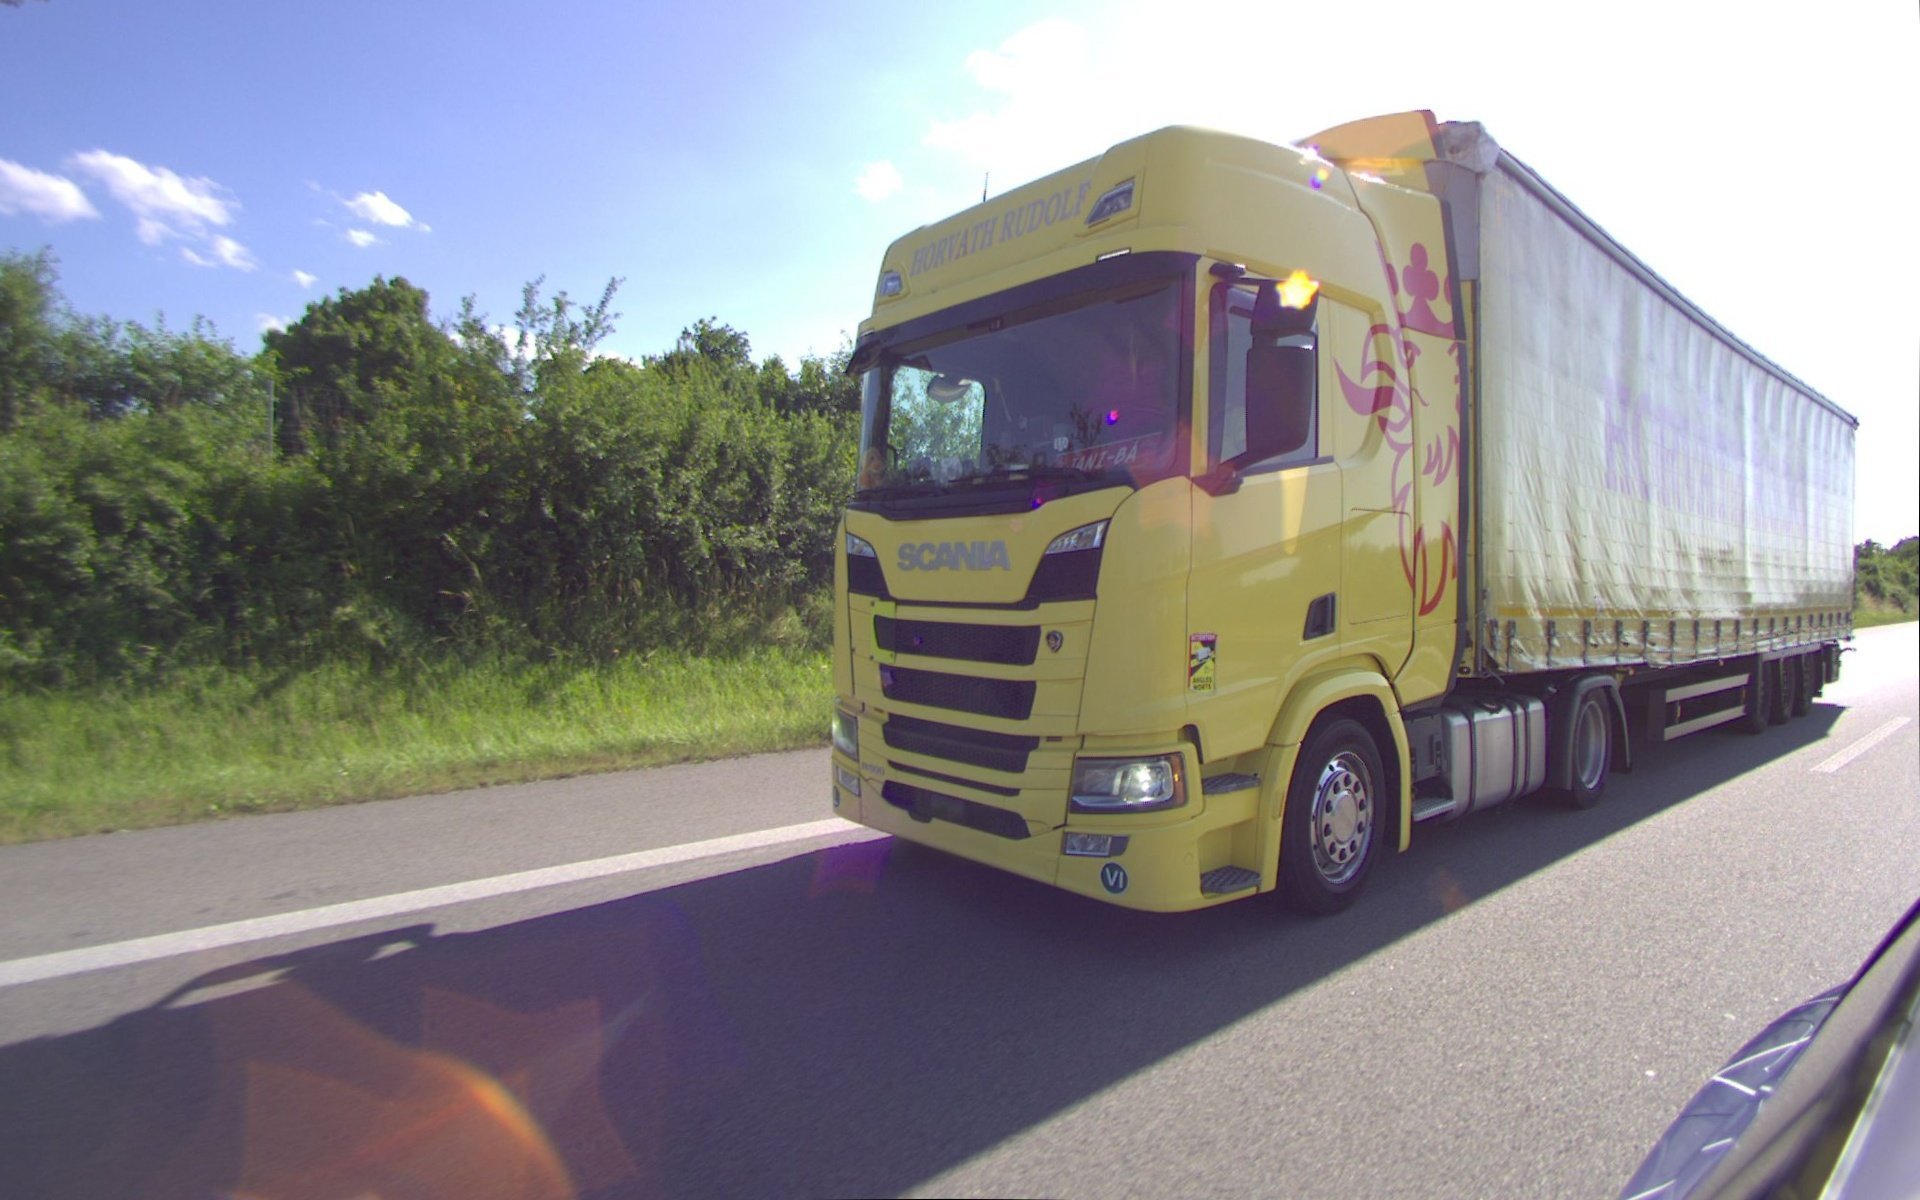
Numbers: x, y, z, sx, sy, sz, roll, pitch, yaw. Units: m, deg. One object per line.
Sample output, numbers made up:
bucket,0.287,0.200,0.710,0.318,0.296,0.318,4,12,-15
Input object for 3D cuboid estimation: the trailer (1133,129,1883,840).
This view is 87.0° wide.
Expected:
trailer,7.303,-0.732,11.369,12.959,4.110,3.189,-1,0,-42

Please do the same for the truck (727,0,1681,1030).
truck,2.051,-0.693,6.670,6.280,4.166,3.173,0,0,-43
